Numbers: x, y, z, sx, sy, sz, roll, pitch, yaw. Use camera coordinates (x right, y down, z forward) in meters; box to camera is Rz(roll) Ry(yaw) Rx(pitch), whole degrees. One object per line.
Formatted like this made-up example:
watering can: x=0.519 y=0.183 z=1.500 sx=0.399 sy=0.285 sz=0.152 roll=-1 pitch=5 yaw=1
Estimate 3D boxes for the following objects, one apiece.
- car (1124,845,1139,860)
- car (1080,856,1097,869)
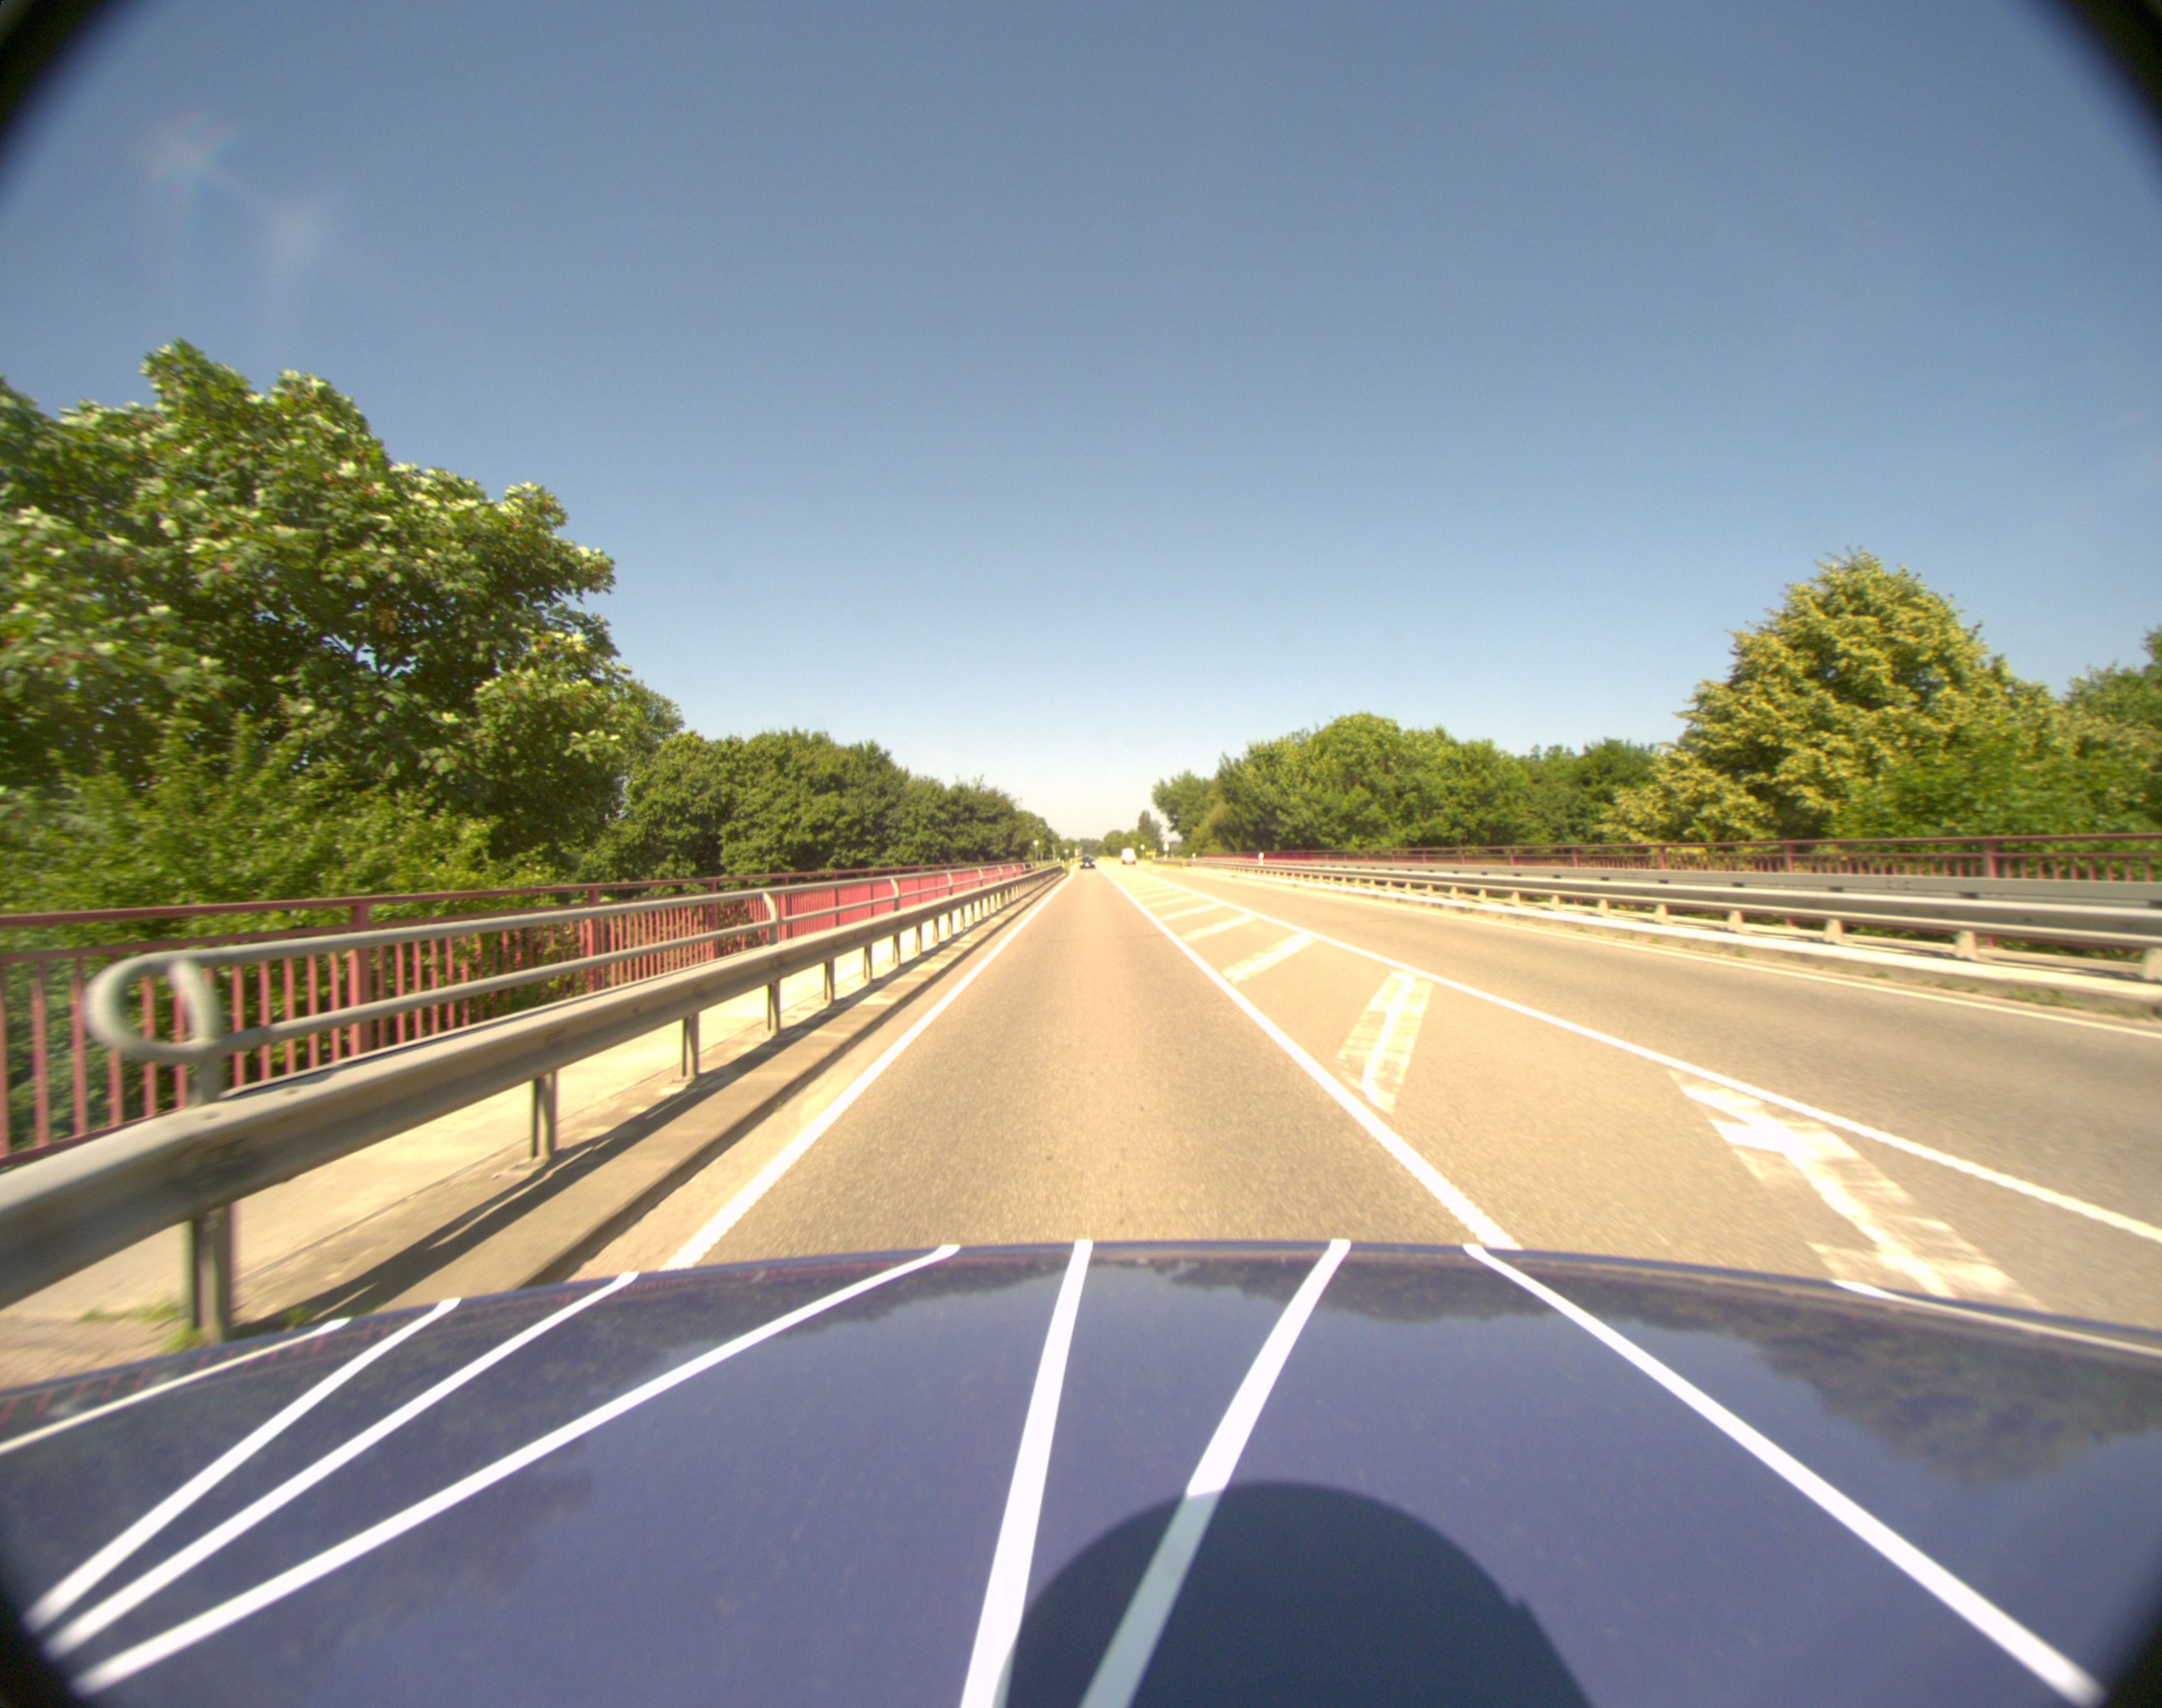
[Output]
car: x=7.663 y=-0.263 z=115.248 sx=1.895 sy=2.214 sz=7.232 roll=-2 pitch=0 yaw=2
car: x=0.909 y=0.990 z=88.709 sx=1.806 sy=1.390 sz=4.180 roll=-2 pitch=0 yaw=2
